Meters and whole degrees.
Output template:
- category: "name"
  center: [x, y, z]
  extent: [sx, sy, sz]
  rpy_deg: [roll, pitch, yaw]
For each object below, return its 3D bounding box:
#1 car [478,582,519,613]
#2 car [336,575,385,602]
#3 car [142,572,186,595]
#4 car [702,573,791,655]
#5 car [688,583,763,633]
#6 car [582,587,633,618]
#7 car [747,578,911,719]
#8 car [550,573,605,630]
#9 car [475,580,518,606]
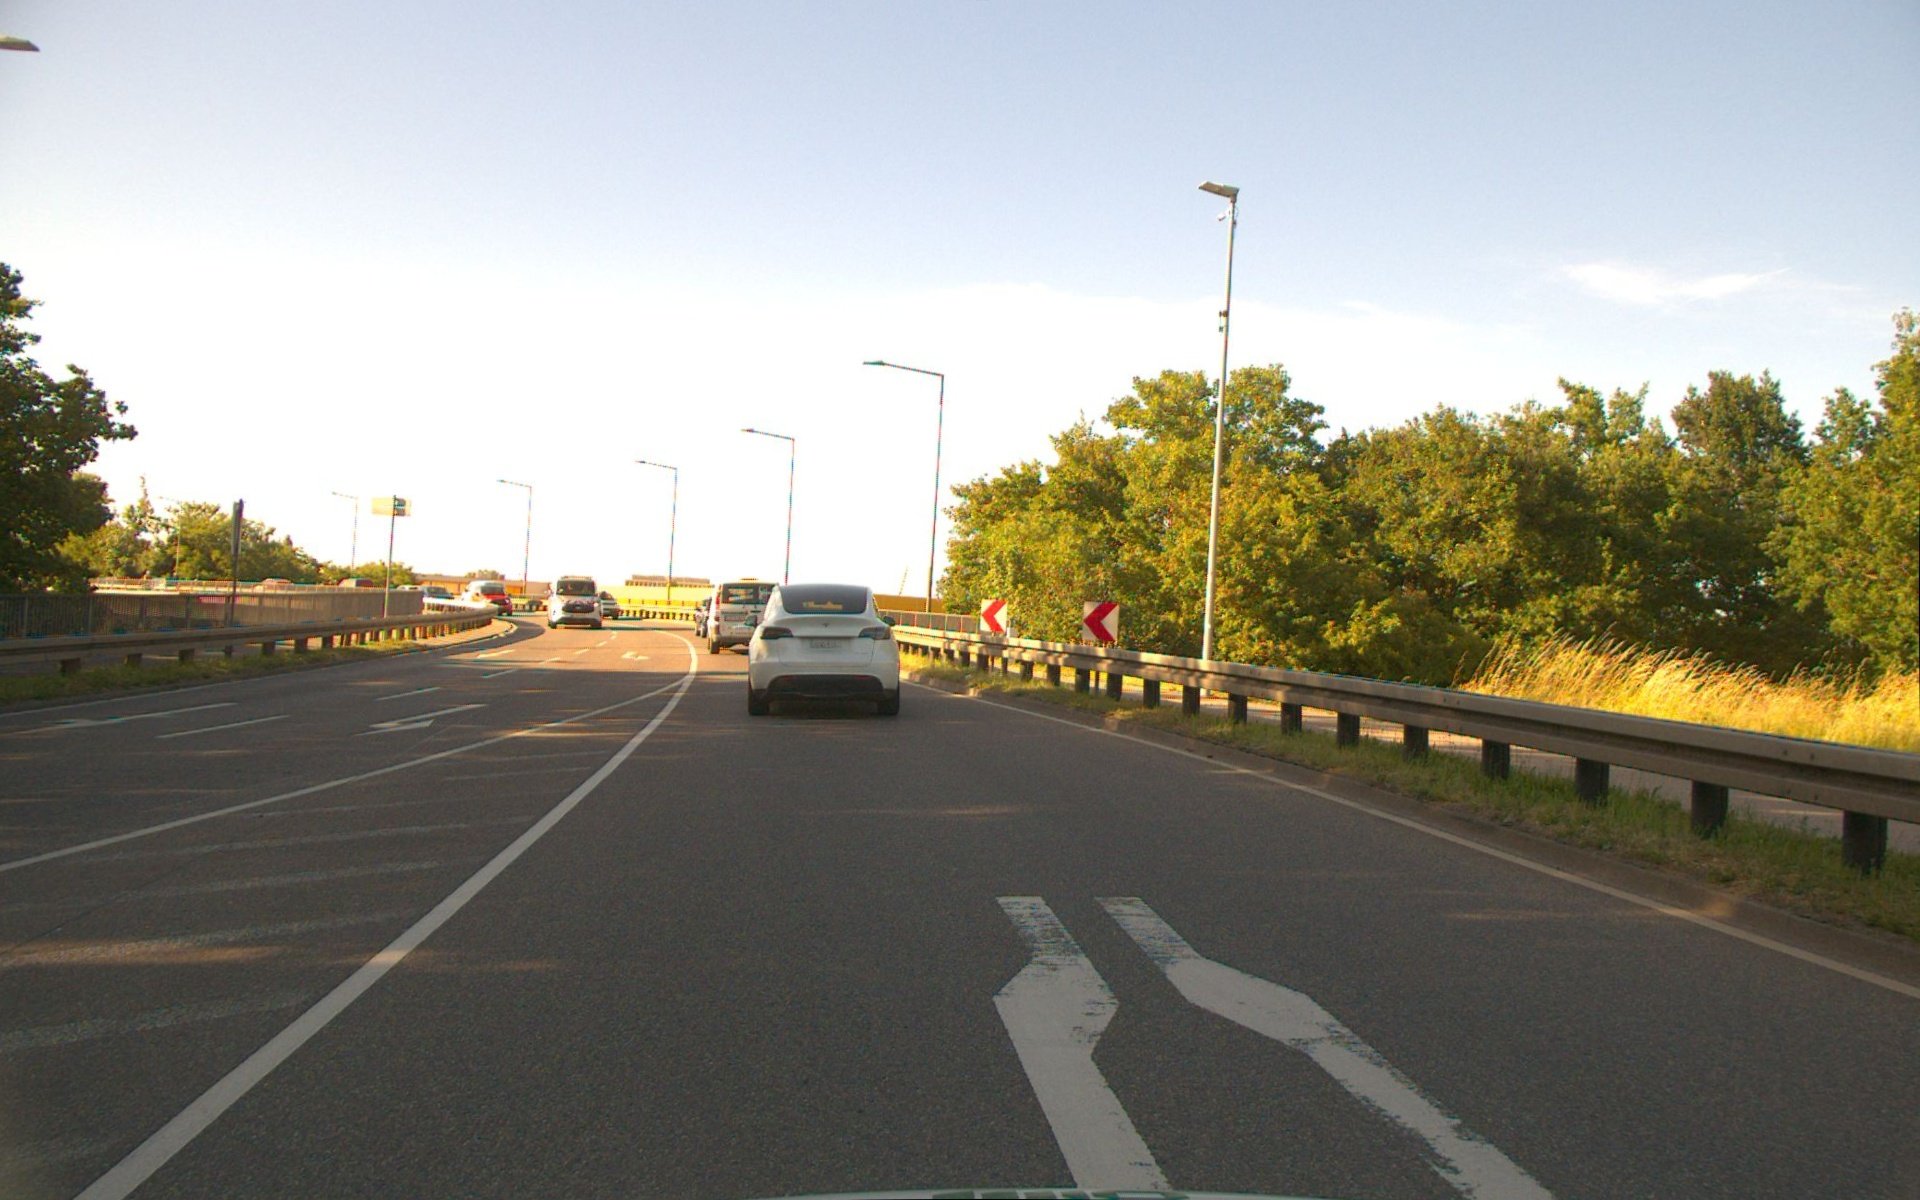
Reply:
- category: "car"
  center: [-25.380, -0.158, 90.858]
  extent: [1.779, 1.666, 3.974]
  rpy_deg: [1, 0, -22]
- category: "car"
  center: [-45.942, -0.872, 126.669]
  extent: [3.931, 1.984, 1.950]
  rpy_deg: [1, 0, 44]
- category: "car"
  center: [-70.051, -1.450, 145.598]
  extent: [3.922, 1.984, 1.954]
  rpy_deg: [1, 0, 37]
- category: "car"
  center: [-5.580, 0.329, 42.817]
  extent: [1.969, 1.974, 4.455]
  rpy_deg: [1, 0, -11]
- category: "car"
  center: [-8.103, 0.244, 56.959]
  extent: [1.938, 1.666, 3.980]
  rpy_deg: [0, 0, -18]
- category: "car"
  center: [-18.744, 0.104, 87.775]
  extent: [1.966, 1.566, 3.972]
  rpy_deg: [1, 0, -23]
- category: "car"
  center: [-1.811, 0.559, 21.677]
  extent: [1.948, 1.666, 4.056]
  rpy_deg: [0, 0, -8]
- category: "car"
  center: [-15.271, 0.037, 65.923]
  extent: [1.917, 2.149, 5.249]
  rpy_deg: [1, 0, -15]
- category: "car"
  center: [-29.831, -0.466, 106.384]
  extent: [1.816, 1.583, 3.854]
  rpy_deg: [1, 0, -30]
